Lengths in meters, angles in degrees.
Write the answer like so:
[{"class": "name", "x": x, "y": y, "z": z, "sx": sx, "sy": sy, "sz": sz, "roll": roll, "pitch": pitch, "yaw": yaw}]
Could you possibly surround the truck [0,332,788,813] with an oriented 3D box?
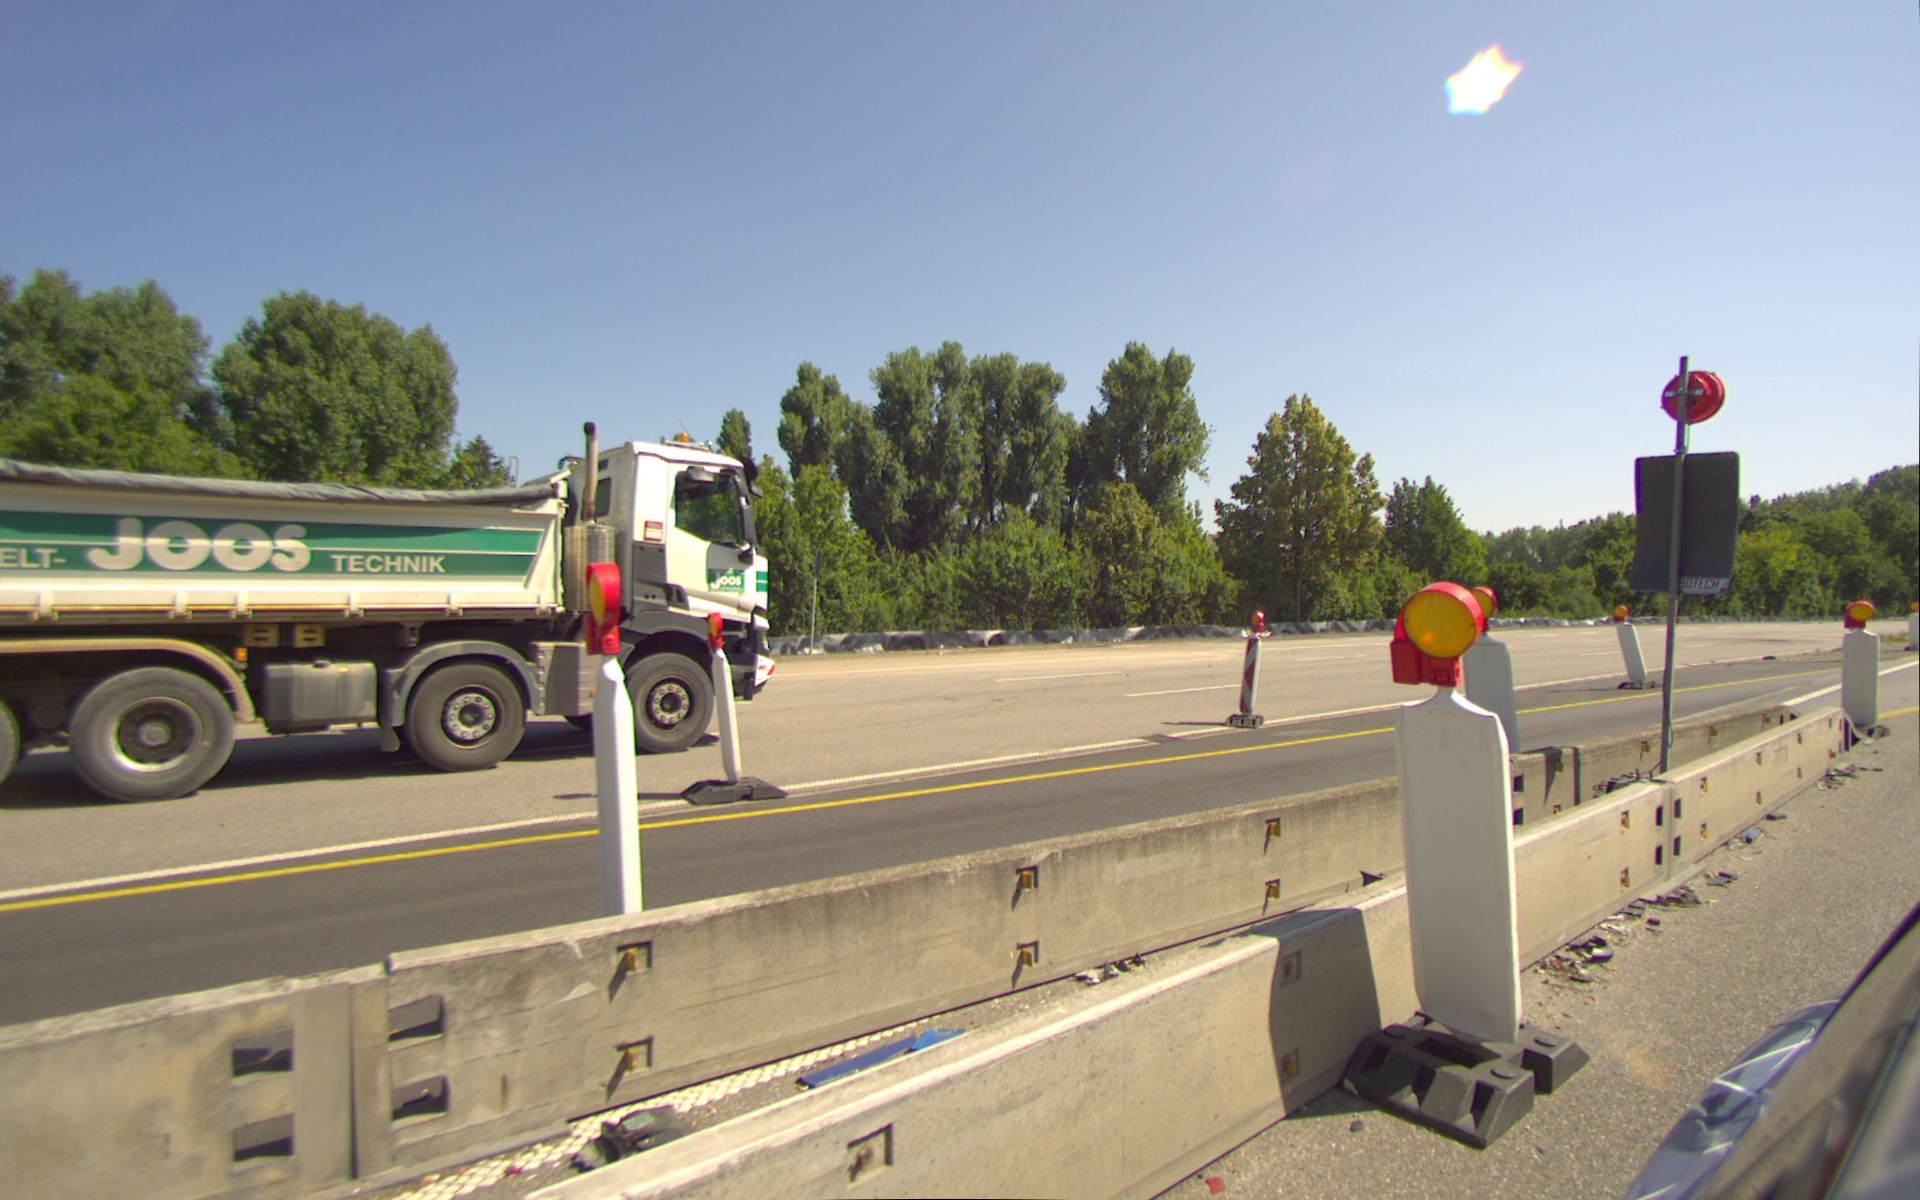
[{"class": "truck", "x": -6.049, "y": -0.227, "z": 9.817, "sx": 8.582, "sy": 3.476, "sz": 2.604, "roll": 0, "pitch": 0, "yaw": -41}]
